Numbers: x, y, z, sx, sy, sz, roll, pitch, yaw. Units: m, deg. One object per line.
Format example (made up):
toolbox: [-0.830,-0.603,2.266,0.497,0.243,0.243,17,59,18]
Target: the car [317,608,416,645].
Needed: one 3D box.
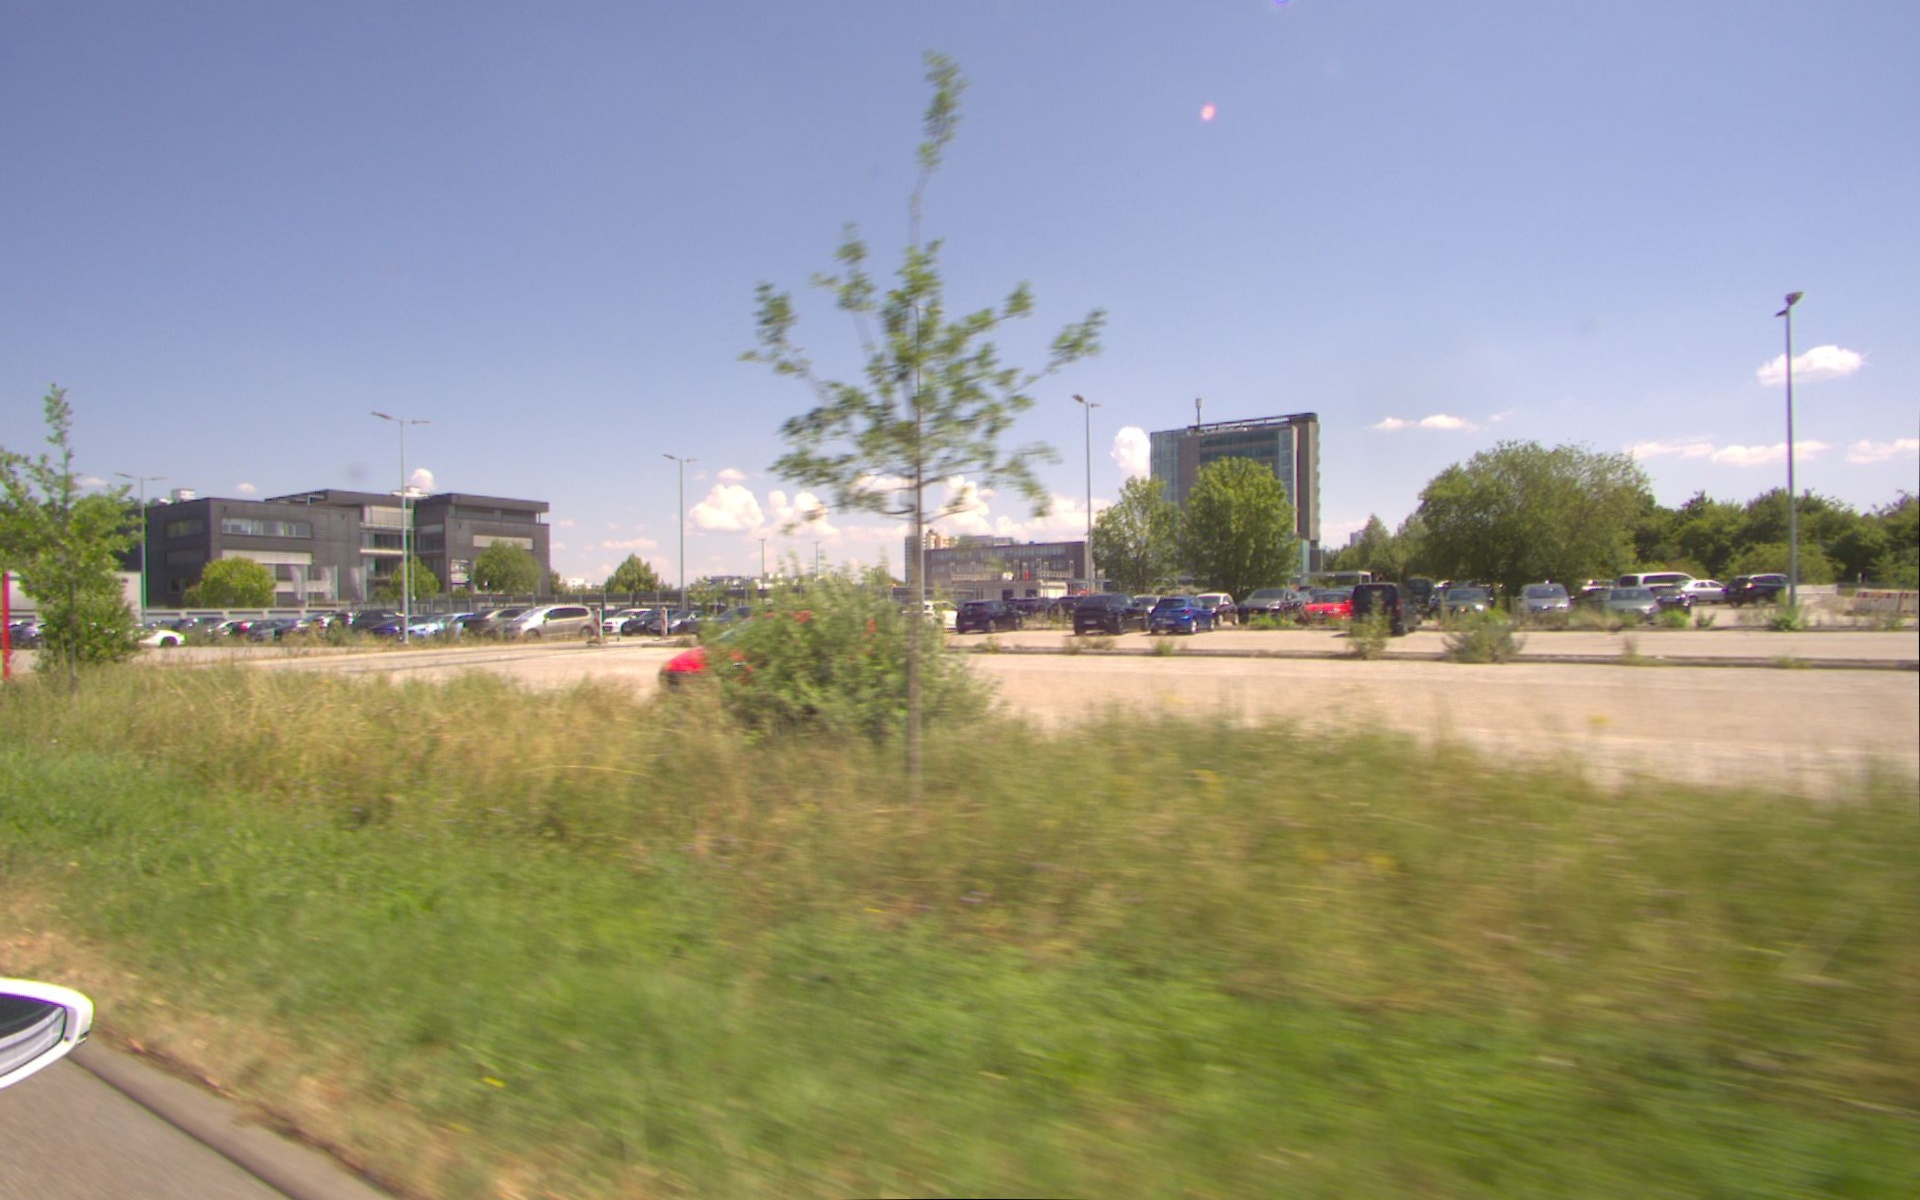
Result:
car: [-30.349,1.317,51.336,1.832,1.618,3.981,3,3,29]

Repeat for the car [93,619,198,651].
car: [-43.511,1.849,53.560,1.742,1.420,3.980,3,3,30]

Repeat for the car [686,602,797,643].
car: [-8.280,0.842,38.206,1.900,1.414,3.978,-1,0,32]

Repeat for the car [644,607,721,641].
car: [-14.931,1.246,54.129,1.741,1.618,3.981,3,3,29]

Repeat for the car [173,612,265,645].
car: [-43.071,1.626,58.292,1.741,1.618,3.981,3,3,29]

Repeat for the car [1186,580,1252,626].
car: [11.628,0.088,44.773,1.968,1.908,3.982,3,3,28]

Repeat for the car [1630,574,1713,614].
car: [32.025,-0.300,45.195,1.965,1.662,3.989,2,2,20]

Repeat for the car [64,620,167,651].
car: [-46.182,1.914,54.851,1.741,1.420,3.981,3,2,29]

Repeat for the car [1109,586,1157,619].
car: [9.920,0.113,57.158,1.965,1.662,3.989,2,2,20]

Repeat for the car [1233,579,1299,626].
car: [13.351,0.061,43.557,1.968,1.908,3.982,3,3,28]

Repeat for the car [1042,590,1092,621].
car: [6.415,0.310,59.698,1.965,1.662,3.989,2,2,20]

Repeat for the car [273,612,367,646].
car: [-34.870,1.556,54.624,1.741,1.618,3.981,3,3,29]

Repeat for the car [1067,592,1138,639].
car: [5.758,0.566,40.107,1.965,1.662,3.989,2,2,20]

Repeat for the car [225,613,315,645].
car: [-39.931,1.636,58.036,1.741,1.618,3.981,3,3,29]

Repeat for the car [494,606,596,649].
car: [-18.245,1.174,44.197,1.741,1.618,3.981,3,3,29]

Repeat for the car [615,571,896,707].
car: [-2.900,0.511,15.020,1.900,1.746,3.978,-1,0,32]

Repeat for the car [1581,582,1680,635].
car: [23.807,0.251,35.727,1.965,1.662,3.989,2,2,20]

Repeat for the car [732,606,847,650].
car: [-6.025,0.978,35.832,1.900,1.414,3.978,-1,0,32]

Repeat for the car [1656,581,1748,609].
car: [42.811,-0.290,57.837,3.922,1.549,1.875,-1,0,-1]

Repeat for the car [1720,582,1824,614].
car: [42.194,-0.100,52.109,3.922,1.549,1.875,-1,0,-1]

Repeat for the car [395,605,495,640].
car: [-24.645,1.051,48.024,1.741,1.412,3.981,3,2,29]

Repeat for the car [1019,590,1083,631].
car: [4.258,0.436,46.492,1.965,1.662,3.989,2,2,20]

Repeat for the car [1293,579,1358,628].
car: [15.394,0.097,42.089,1.968,1.908,3.982,3,3,28]

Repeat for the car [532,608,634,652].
car: [-16.262,1.266,43.333,1.741,1.618,3.981,3,3,29]

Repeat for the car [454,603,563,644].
car: [-20.508,1.032,45.682,1.741,1.618,4.360,3,3,29]

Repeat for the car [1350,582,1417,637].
car: [14.875,0.269,35.044,1.731,1.781,3.981,0,1,29]

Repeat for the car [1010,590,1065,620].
car: [4.821,0.268,61.975,1.767,1.662,3.979,3,3,31]

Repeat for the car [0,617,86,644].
car: [-56.913,1.864,61.881,1.741,1.420,3.981,3,2,29]

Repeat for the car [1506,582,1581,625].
car: [21.849,0.077,37.636,1.691,1.440,3.989,2,2,20]

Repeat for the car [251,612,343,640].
car: [-37.455,1.443,56.639,1.741,1.289,3.981,3,2,29]

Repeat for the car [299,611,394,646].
car: [-32.583,1.484,53.245,1.741,1.618,3.981,3,3,29]

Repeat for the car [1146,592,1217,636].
car: [8.697,0.503,39.117,1.706,1.484,3.792,3,2,28]

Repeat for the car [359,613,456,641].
car: [-27.625,1.333,50.180,1.741,1.124,3.981,3,2,29]

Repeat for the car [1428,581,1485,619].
car: [24.135,-0.037,48.811,1.965,1.662,3.989,2,2,20]

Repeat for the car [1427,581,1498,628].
car: [19.671,0.109,39.345,1.965,1.662,3.989,2,2,20]

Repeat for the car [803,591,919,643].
car: [-3.325,0.553,34.240,1.900,1.663,3.978,-1,0,32]

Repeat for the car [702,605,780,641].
car: [-11.355,1.173,52.135,1.741,1.618,3.981,3,3,29]

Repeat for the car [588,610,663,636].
car: [-18.792,1.277,56.394,1.704,1.209,3.982,3,2,28]

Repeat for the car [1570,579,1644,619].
car: [29.730,-0.092,46.155,1.965,1.662,3.989,2,2,20]

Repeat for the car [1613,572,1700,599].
car: [41.973,-0.849,60.416,3.922,1.549,1.875,-1,0,-1]

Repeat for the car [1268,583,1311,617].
car: [17.402,-0.043,52.773,1.965,1.662,3.989,2,2,20]

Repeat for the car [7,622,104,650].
car: [-54.334,2.134,60.206,1.741,1.420,3.981,3,2,29]

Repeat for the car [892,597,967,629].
car: [-1.360,0.584,45.980,1.670,1.359,3.983,-1,0,28]

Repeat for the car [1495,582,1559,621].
car: [27.023,0.036,47.834,1.965,1.662,3.989,2,2,20]

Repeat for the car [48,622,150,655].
car: [-48.208,2.122,56.133,1.741,1.511,3.981,3,3,29]
